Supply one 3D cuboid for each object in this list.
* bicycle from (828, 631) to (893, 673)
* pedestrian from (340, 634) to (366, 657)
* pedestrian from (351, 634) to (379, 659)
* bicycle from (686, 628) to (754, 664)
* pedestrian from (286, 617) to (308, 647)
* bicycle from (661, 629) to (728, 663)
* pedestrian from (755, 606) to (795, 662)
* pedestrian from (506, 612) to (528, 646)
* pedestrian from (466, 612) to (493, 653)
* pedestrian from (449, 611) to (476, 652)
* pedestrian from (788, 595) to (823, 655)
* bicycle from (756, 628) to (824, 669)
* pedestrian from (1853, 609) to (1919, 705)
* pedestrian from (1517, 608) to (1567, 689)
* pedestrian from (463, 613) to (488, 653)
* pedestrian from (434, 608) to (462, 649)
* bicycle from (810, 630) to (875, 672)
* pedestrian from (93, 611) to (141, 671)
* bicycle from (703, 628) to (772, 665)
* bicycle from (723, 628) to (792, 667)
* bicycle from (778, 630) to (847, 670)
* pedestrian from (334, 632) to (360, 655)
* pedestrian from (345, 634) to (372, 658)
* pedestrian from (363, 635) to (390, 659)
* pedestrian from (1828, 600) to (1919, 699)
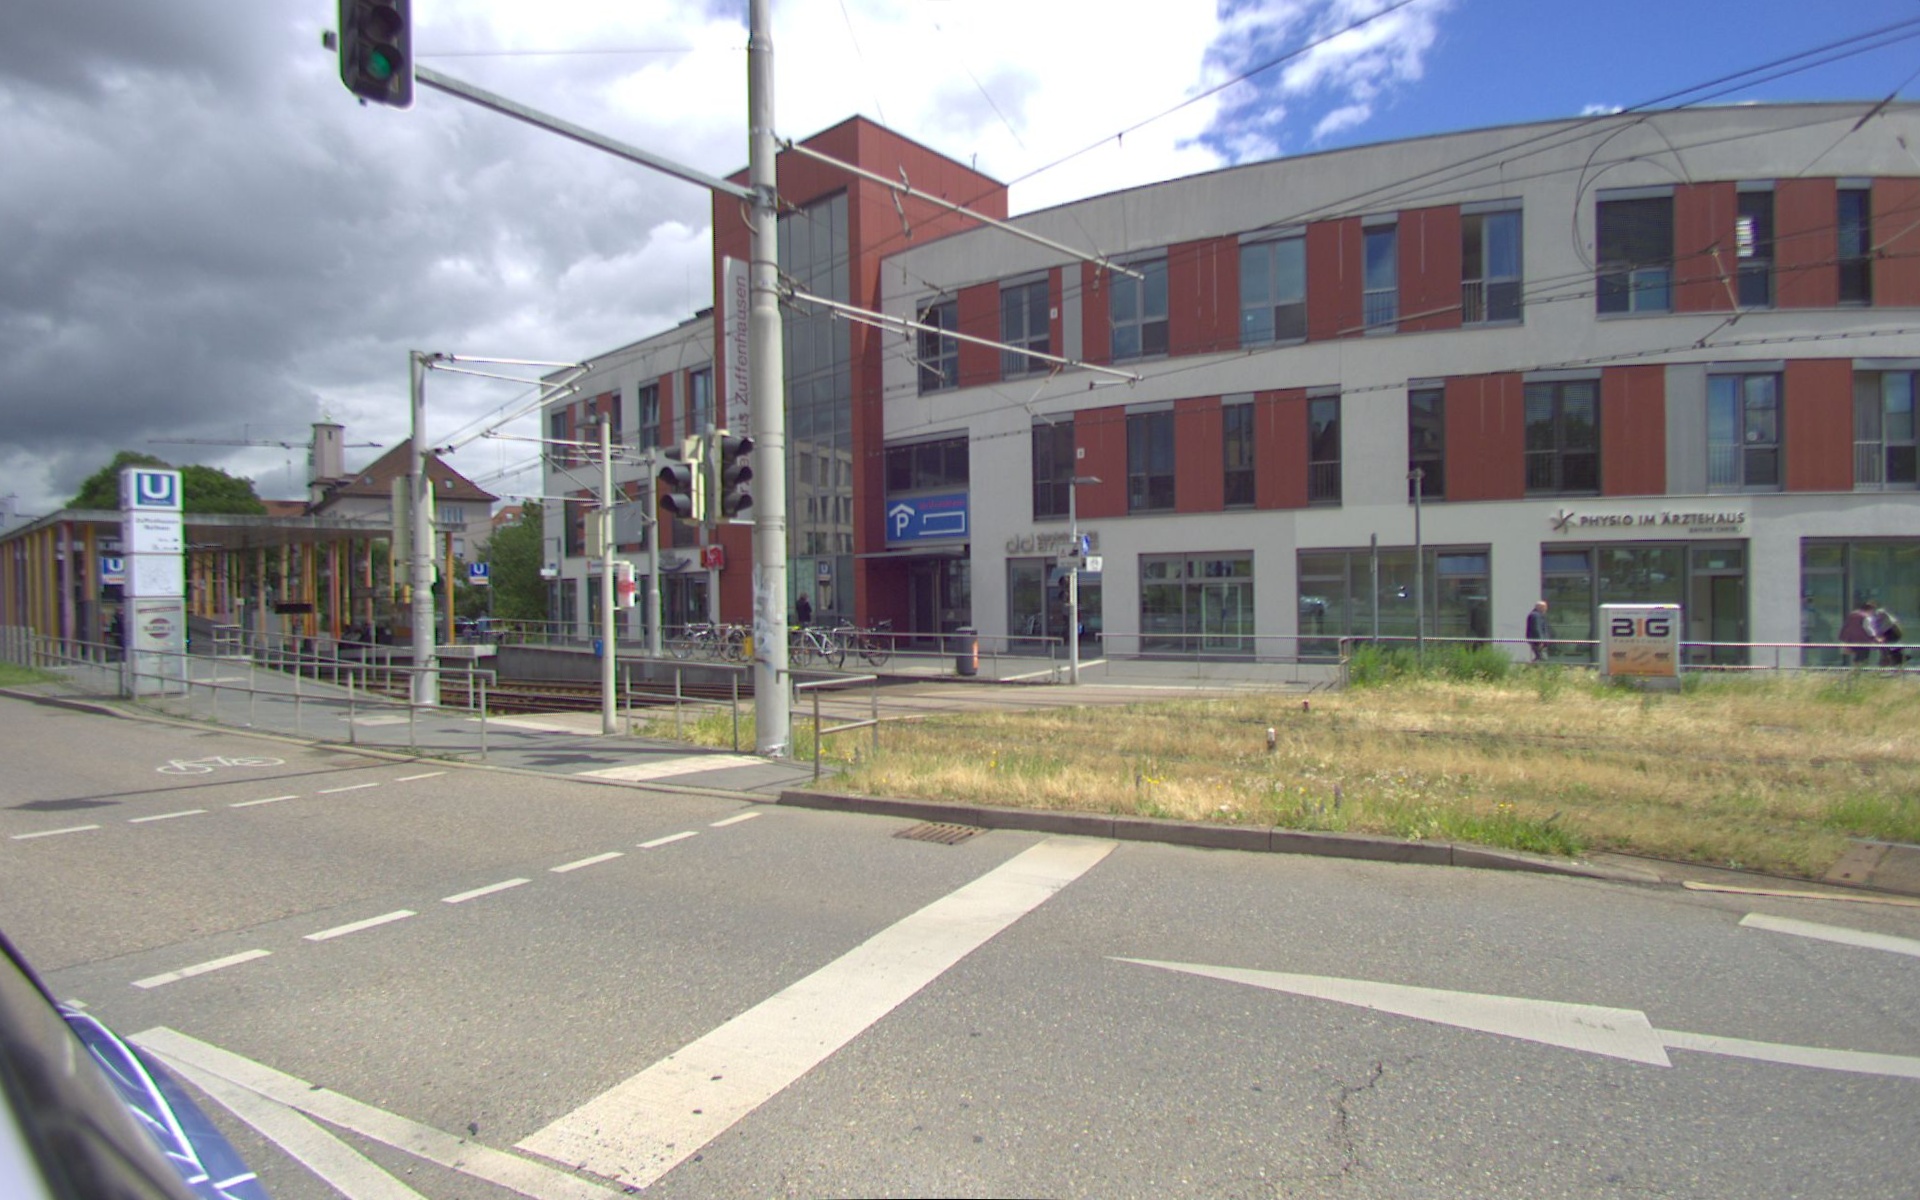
[{"bbox_3d":[-2.389,1.241,24.468,0.428,0.959,1.716,-1,0,44],"label":"bicycle"},{"bbox_3d":[-30.328,2.258,50.560,0.886,1.143,0.931,-2,-2,43],"label":"pedestrian"},{"bbox_3d":[-28.928,2.250,49.199,0.886,1.143,0.931,-2,-2,43],"label":"pedestrian"},{"bbox_3d":[-6.617,1.258,27.961,1.834,0.939,0.455,0,0,-41],"label":"bicycle"},{"bbox_3d":[-46.393,2.242,70.805,1.112,2.029,1.180,1,-2,-44],"label":"pedestrian"},{"bbox_3d":[-7.507,1.294,28.654,1.834,0.888,0.455,0,0,-41],"label":"bicycle"},{"bbox_3d":[-5.675,1.035,31.114,0.930,1.711,0.782,0,-1,23],"label":"pedestrian"},{"bbox_3d":[-26.200,1.728,59.834,1.087,1.983,0.867,1,-1,-32],"label":"pedestrian"},{"bbox_3d":[-23.609,1.576,49.725,0.852,1.983,1.107,1,-1,-44],"label":"pedestrian"},{"bbox_3d":[-24.167,1.530,49.190,0.852,1.983,1.107,1,-1,-44],"label":"pedestrian"},{"bbox_3d":[-4.923,0.787,32.292,0.856,1.859,0.876,0,1,13],"label":"pedestrian"},{"bbox_3d":[-4.383,1.230,26.143,0.455,0.970,1.837,-1,0,44],"label":"bicycle"},{"bbox_3d":[19.738,1.184,21.290,1.104,1.983,0.862,0,-1,10],"label":"pedestrian"},{"bbox_3d":[11.659,0.958,20.292,0.686,1.592,0.731,-1,-1,19],"label":"pedestrian"},{"bbox_3d":[-24.467,1.639,51.107,0.852,1.983,1.107,1,-1,-44],"label":"pedestrian"},{"bbox_3d":[-25.148,1.391,49.722,1.106,1.983,0.852,0,-1,43],"label":"pedestrian"},{"bbox_3d":[-2.875,1.240,24.874,0.428,0.965,1.716,-1,0,44],"label":"bicycle"},{"bbox_3d":[-27.877,1.329,33.467,0.864,1.929,1.090,0,-1,43],"label":"pedestrian"},{"bbox_3d":[-6.007,1.254,27.399,1.835,0.929,0.455,0,0,-41],"label":"bicycle"},{"bbox_3d":[-5.338,1.241,26.796,1.836,0.946,0.455,0,0,-45],"label":"bicycle"},{"bbox_3d":[-3.703,1.241,25.504,0.455,0.942,1.837,-1,0,44],"label":"bicycle"},{"bbox_3d":[-31.088,2.221,51.358,0.886,1.143,0.931,-2,-2,43],"label":"pedestrian"},{"bbox_3d":[-29.642,2.253,49.838,0.886,1.143,0.931,-2,-2,43],"label":"pedestrian"},{"bbox_3d":[-28.081,2.251,48.720,0.886,1.143,0.931,-2,-2,43],"label":"pedestrian"},{"bbox_3d":[18.876,1.005,20.933,1.094,1.983,0.861,0,-1,11],"label":"pedestrian"}]
